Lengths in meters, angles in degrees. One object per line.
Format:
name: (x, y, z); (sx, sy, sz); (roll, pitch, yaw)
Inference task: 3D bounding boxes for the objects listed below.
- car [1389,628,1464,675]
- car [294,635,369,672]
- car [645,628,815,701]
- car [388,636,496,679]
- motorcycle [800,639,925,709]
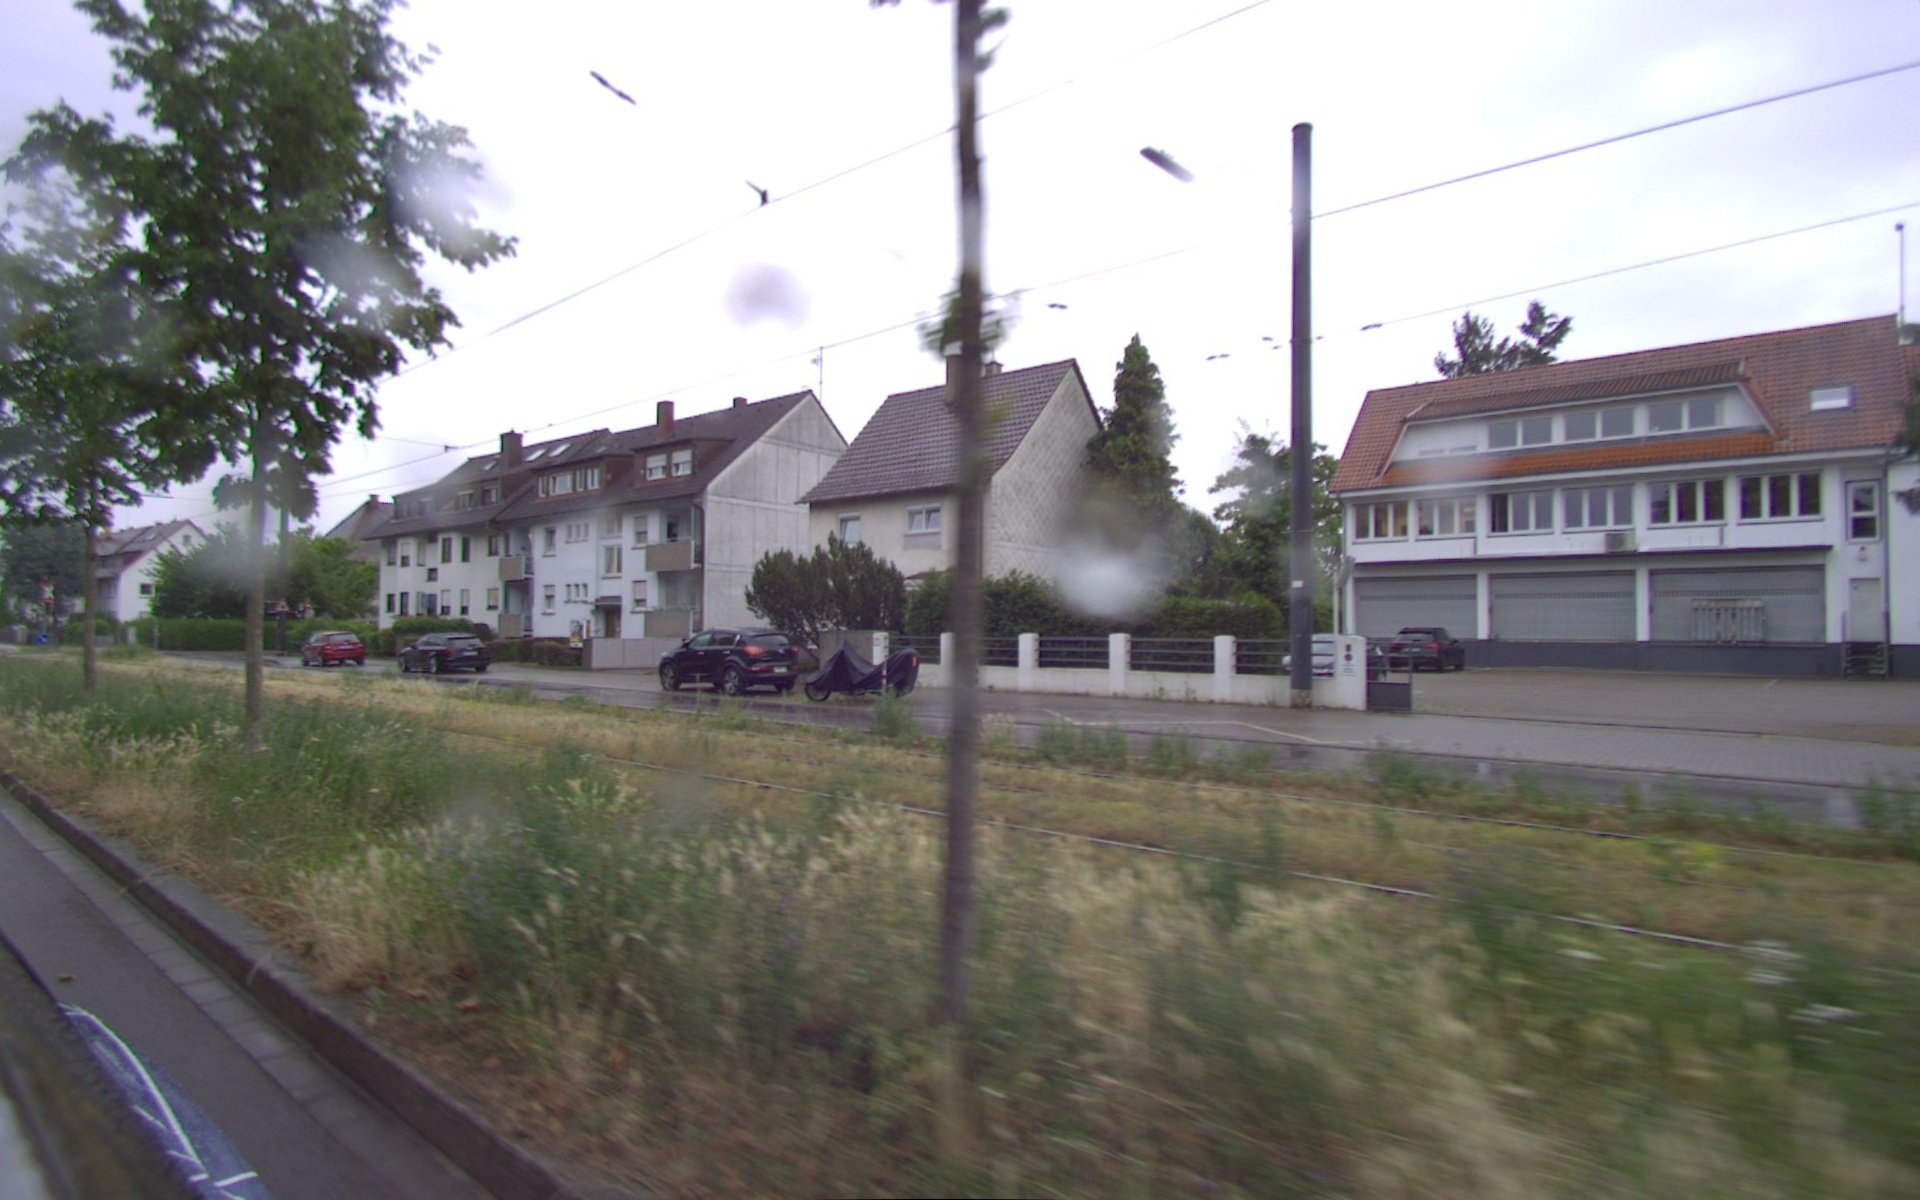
car: (17.237, 1.843, 37.318); (1.701, 1.551, 3.922); (-2, -1, 37)
car: (-27.393, 2.290, 44.052); (3.999, 1.468, 1.778); (-2, -1, 42)
car: (-5.939, 1.576, 25.897); (4.382, 1.687, 1.974); (-1, -2, 39)
car: (-18.827, 2.046, 36.696); (4.760, 1.421, 1.972); (-2, -1, 42)
motorcycle: (-2.161, 1.596, 22.219); (2.645, 1.421, 1.269); (0, -1, -7)
